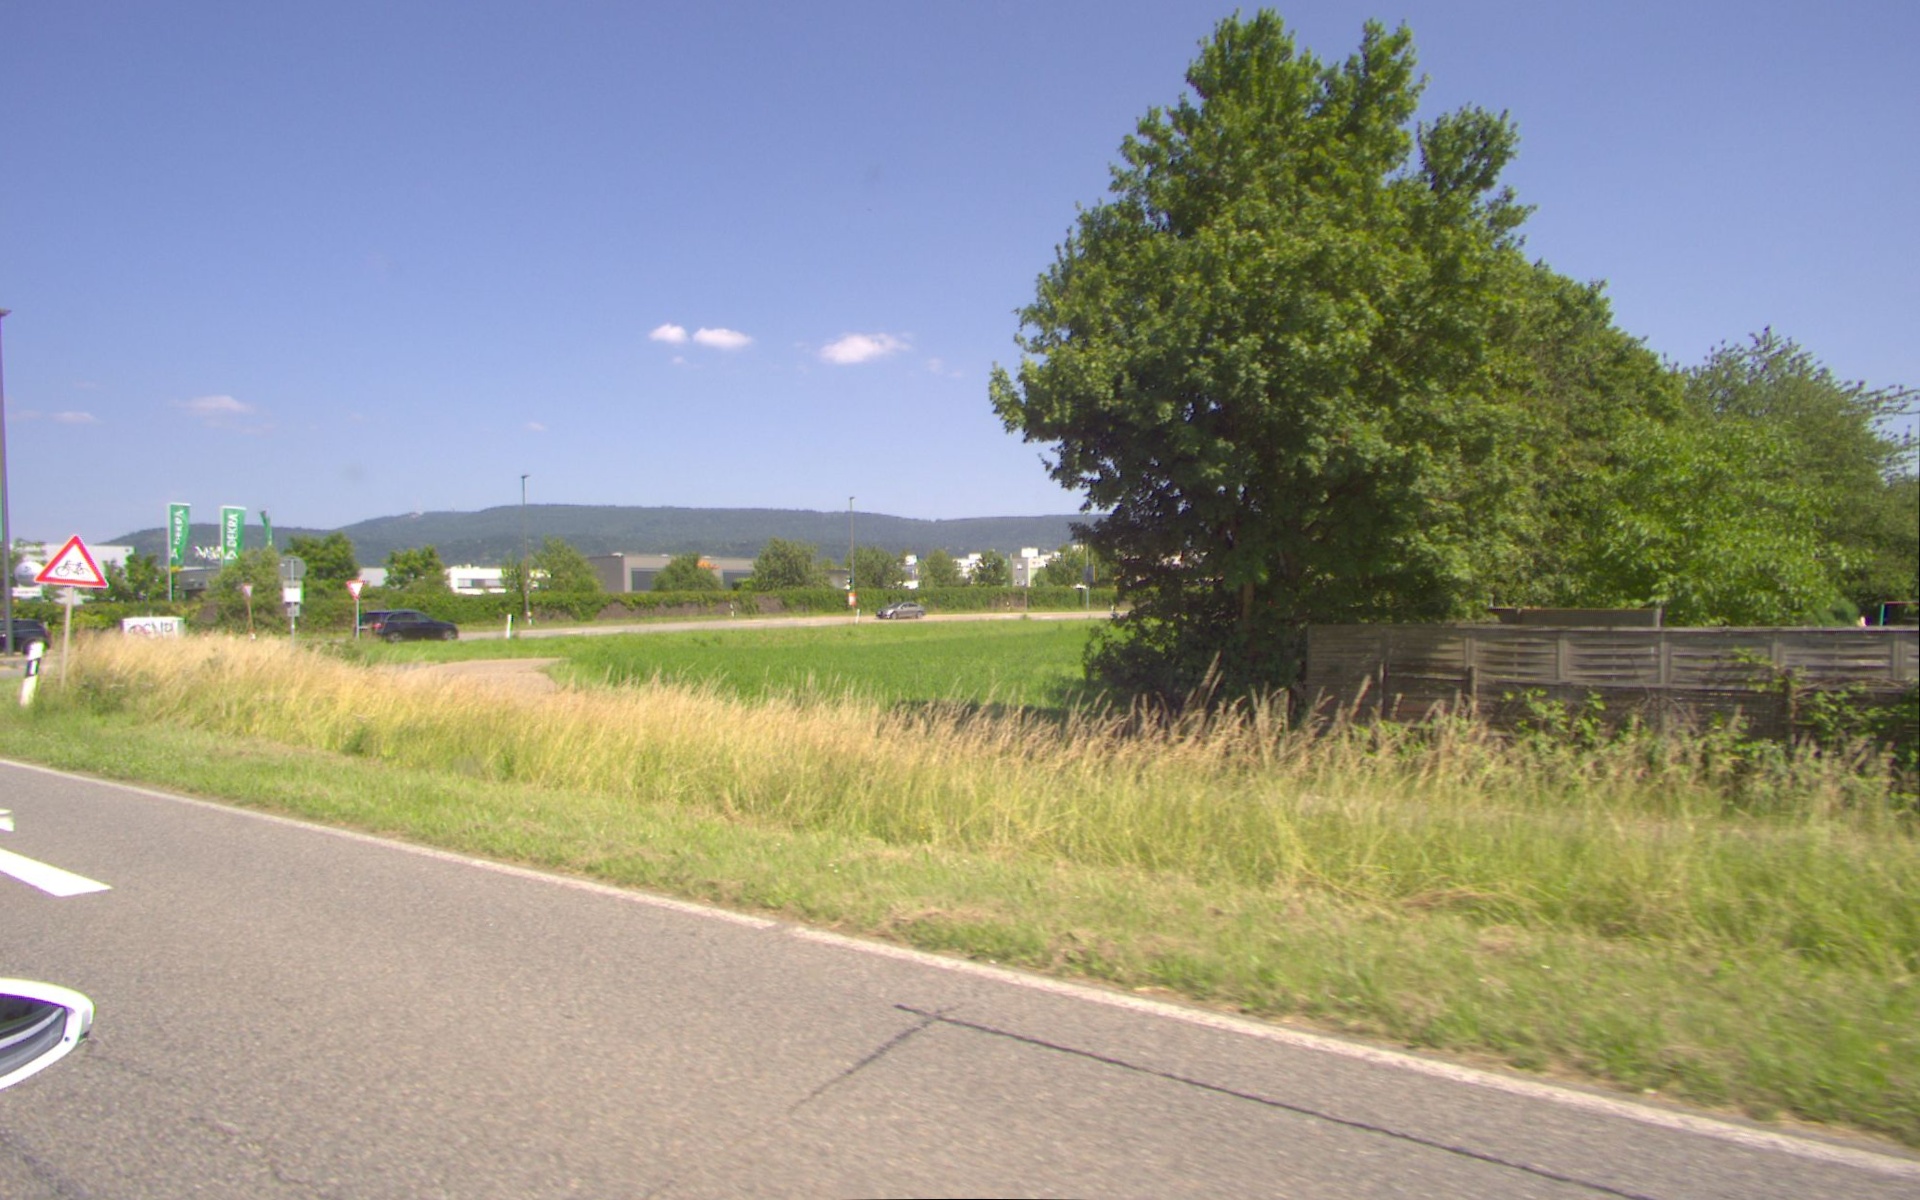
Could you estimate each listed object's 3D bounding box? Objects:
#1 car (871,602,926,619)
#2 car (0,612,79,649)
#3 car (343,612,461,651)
[{"bbox_3d":[-5.115,0.896,83.684,4.327,1.345,1.792,-1,0,-39],"label":"car"},{"bbox_3d":[-36.423,1.175,38.228,1.784,1.345,3.970,0,0,39],"label":"car"},{"bbox_3d":[-24.673,1.358,44.435,1.966,1.637,4.329,0,-1,22],"label":"car"}]
